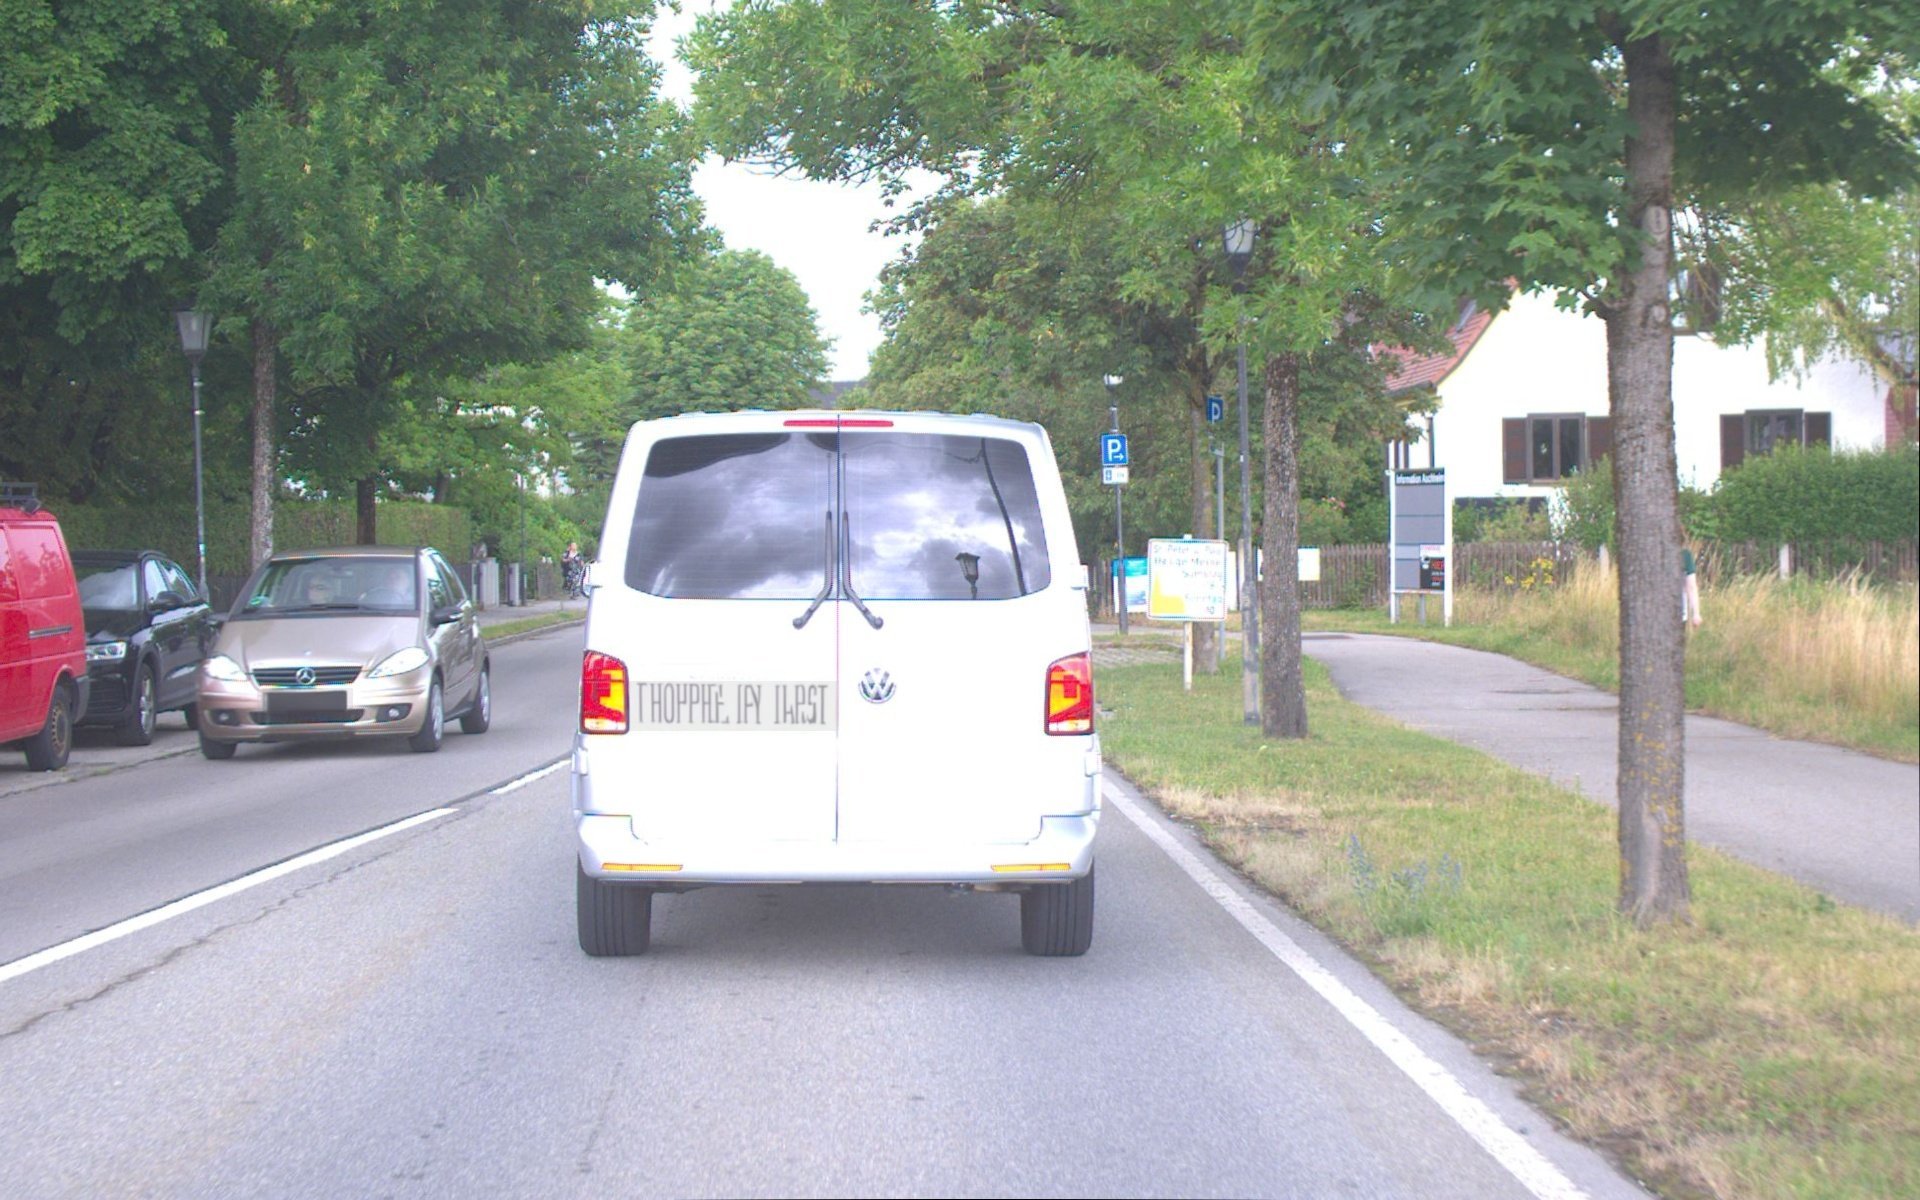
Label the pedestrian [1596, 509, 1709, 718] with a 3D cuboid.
[{"bbox_3d":[5.876,0.105,29.227,0.837,1.749,0.869,0,1,4],"label":"pedestrian"}]

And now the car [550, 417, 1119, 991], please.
[{"bbox_3d":[-0.455,0.315,13.449,1.888,1.905,4.000,0,1,-1],"label":"car"}]

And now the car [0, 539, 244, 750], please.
[{"bbox_3d":[-7.322,0.305,28.836,1.771,1.592,4.238,0,2,0],"label":"car"}]

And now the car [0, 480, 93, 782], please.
[{"bbox_3d":[-7.340,0.199,22.893,1.830,2.023,5.046,1,1,0],"label":"car"}]

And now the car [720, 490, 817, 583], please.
[{"bbox_3d":[-4.251,-1.416,76.894,1.993,2.007,4.000,1,1,-1],"label":"car"}]

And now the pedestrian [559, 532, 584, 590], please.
[{"bbox_3d":[-10.427,-1.054,92.266,0.622,1.544,0.522,1,1,-4],"label":"pedestrian"}]

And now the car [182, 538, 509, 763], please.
[{"bbox_3d":[-4.705,0.339,26.773,1.707,1.527,3.507,-3,1,3],"label":"car"}]
